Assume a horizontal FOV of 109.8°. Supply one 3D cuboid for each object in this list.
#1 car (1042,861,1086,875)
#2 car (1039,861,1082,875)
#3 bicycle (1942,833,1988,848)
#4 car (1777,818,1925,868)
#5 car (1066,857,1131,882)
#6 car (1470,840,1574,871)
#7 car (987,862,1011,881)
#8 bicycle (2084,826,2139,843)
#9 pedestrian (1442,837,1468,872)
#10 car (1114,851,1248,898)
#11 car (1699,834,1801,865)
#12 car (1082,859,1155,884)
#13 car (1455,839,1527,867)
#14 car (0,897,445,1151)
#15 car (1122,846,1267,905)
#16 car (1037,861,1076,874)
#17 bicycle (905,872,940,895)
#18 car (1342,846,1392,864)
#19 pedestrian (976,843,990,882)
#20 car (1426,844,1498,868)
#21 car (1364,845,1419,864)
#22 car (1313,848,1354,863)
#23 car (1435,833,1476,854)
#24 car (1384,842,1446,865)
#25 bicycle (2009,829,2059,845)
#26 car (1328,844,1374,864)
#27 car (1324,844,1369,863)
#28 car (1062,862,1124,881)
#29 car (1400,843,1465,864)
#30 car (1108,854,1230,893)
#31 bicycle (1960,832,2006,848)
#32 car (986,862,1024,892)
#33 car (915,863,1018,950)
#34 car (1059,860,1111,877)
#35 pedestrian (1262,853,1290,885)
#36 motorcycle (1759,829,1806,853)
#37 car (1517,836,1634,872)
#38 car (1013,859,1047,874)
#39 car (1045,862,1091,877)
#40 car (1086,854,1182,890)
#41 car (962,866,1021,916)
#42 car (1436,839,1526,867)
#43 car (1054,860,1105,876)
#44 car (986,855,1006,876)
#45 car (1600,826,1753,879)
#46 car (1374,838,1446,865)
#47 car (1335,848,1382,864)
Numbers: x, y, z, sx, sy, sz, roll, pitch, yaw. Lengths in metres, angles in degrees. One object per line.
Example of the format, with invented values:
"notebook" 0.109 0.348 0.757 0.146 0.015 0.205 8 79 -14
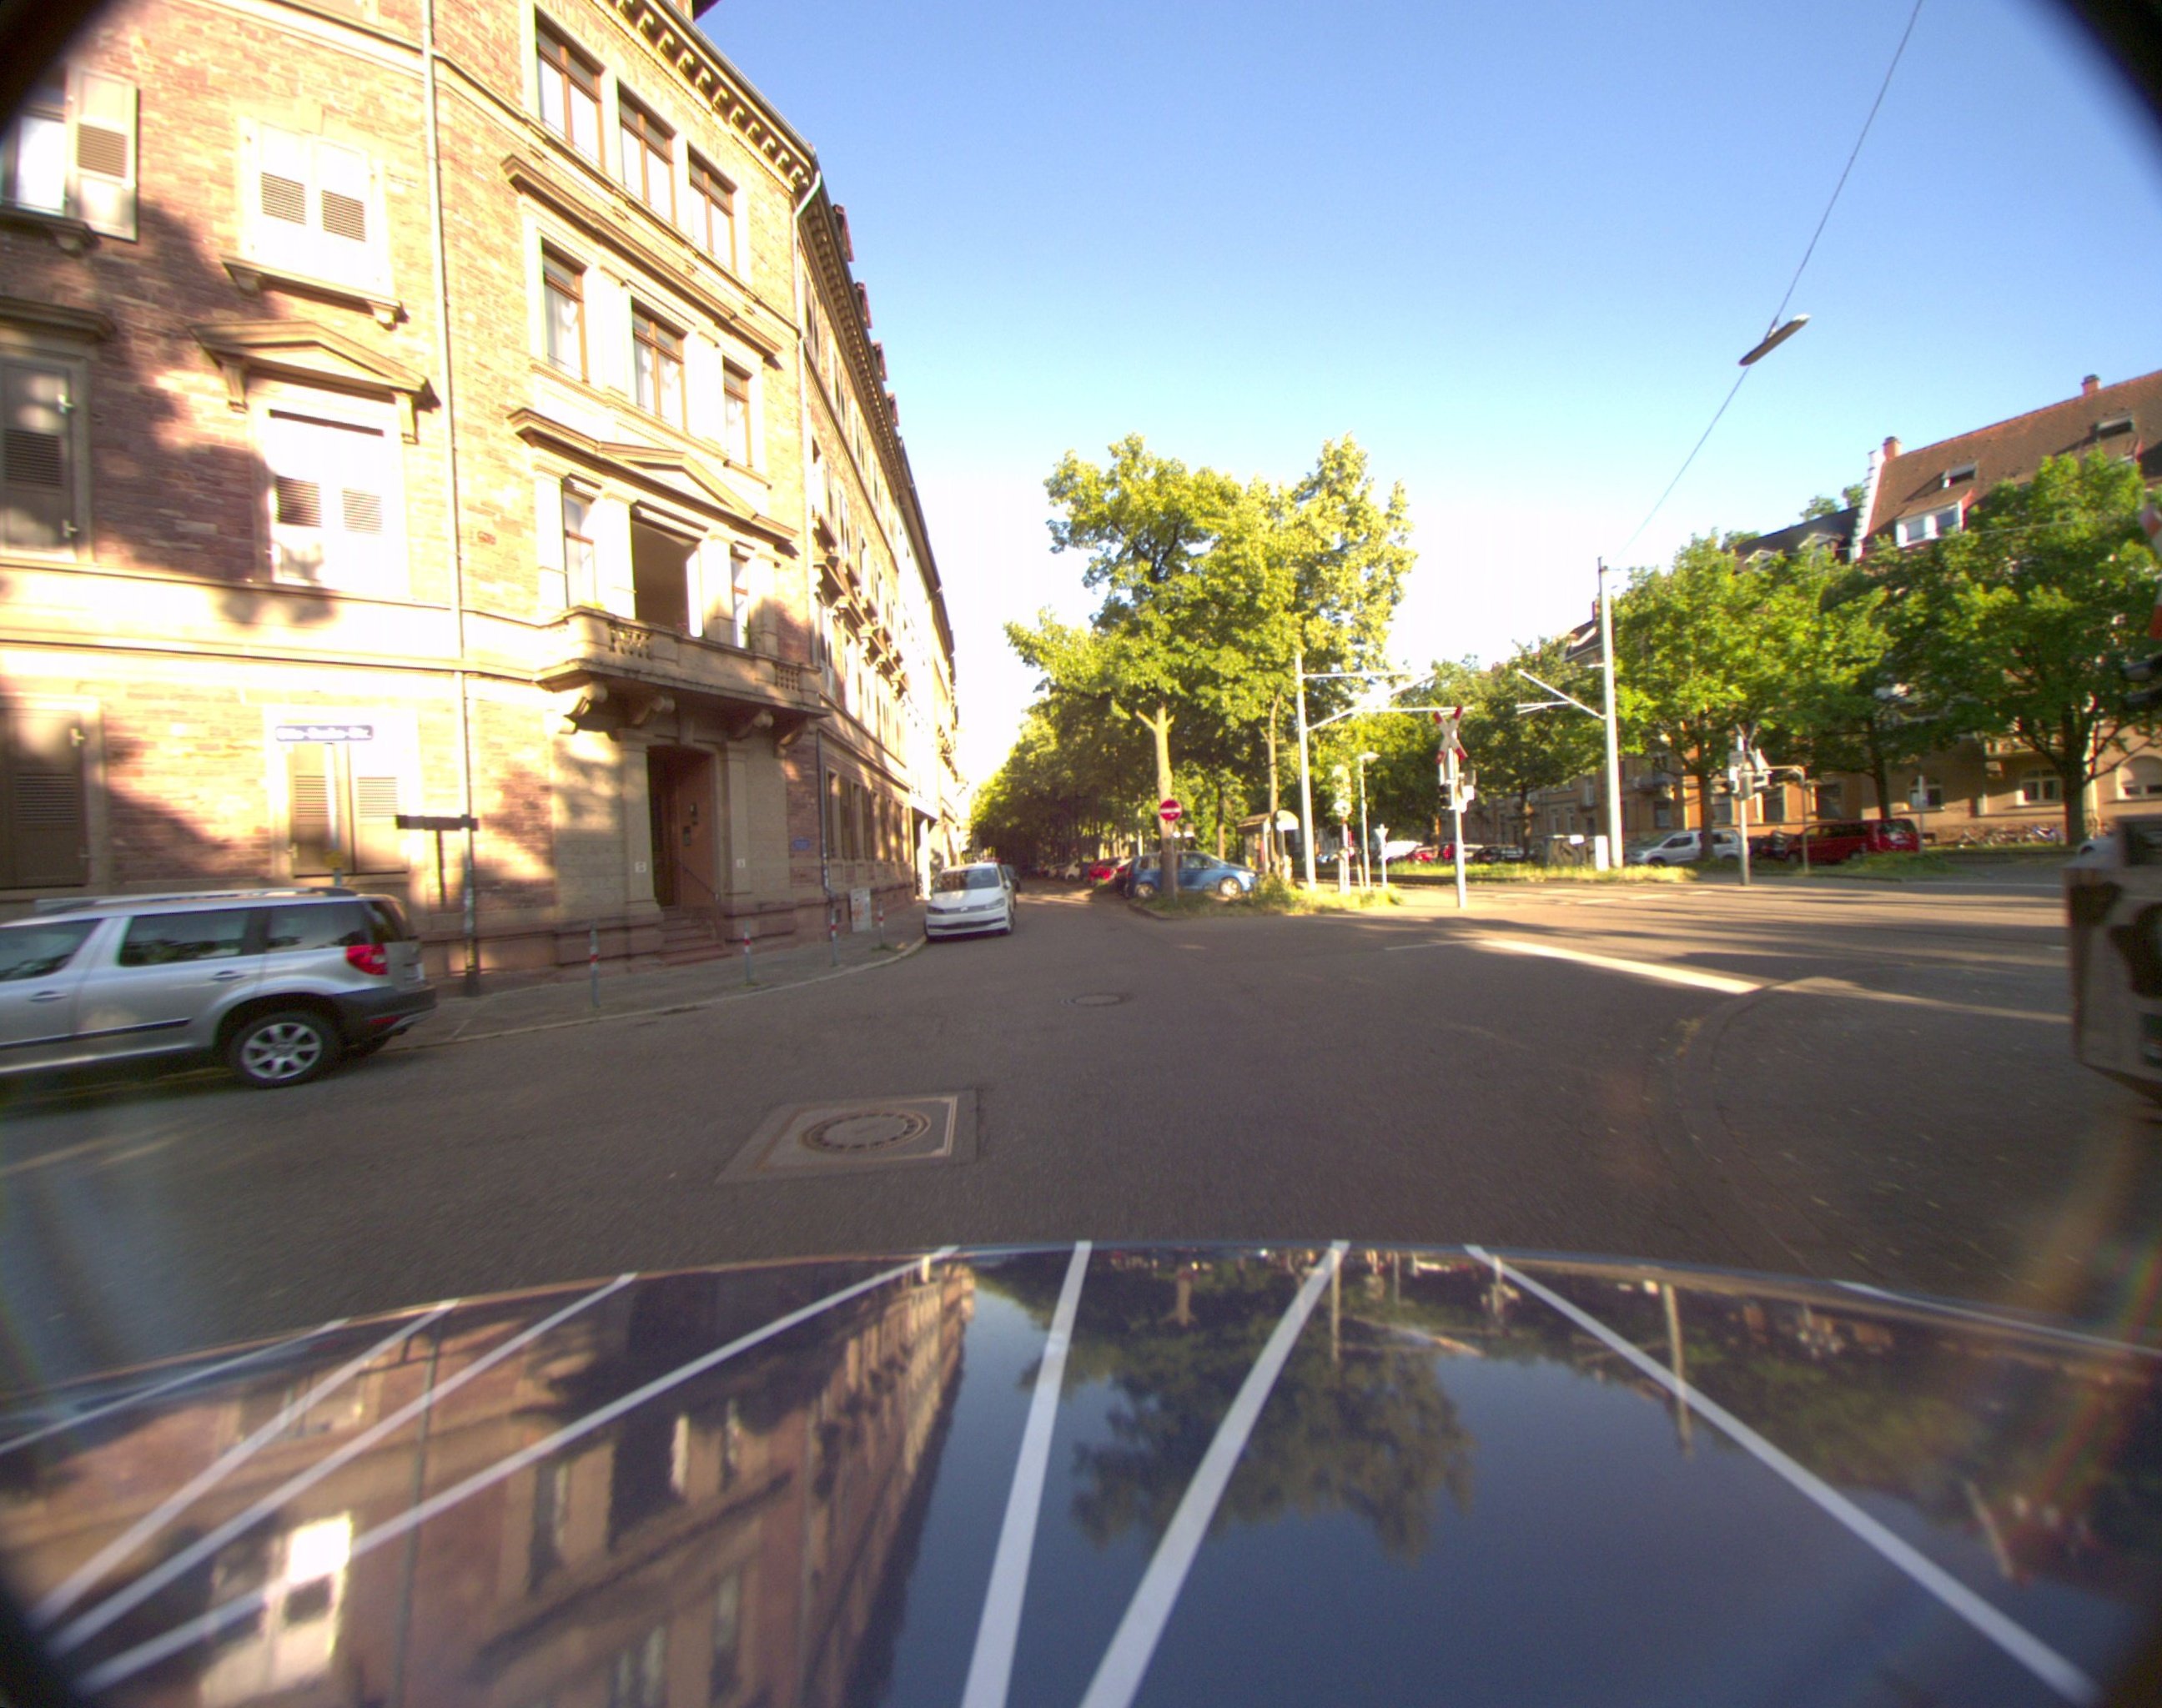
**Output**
"car" -1.716 1.381 75.804 3.990 1.271 1.751 -2 0 25
"car" -2.112 1.435 78.301 3.990 1.271 1.751 -2 0 25
"bicycle" 46.508 -0.716 39.985 0.369 0.728 1.507 -3 0 -32
"car" 33.950 -0.447 33.719 1.780 1.922 4.774 -5 0 3
"car" 1.222 1.094 54.735 4.271 1.685 1.812 -2 0 29
"car" 25.078 0.078 43.377 4.710 1.563 2.001 -2 1 6
"car" -7.408 1.555 68.383 2.000 1.558 4.609 -2 0 -7
"bicycle" 49.053 -0.913 36.189 0.369 0.728 1.507 -3 0 -32
"pedestrian" 20.924 0.028 42.524 0.904 1.907 1.150 -2 0 5
"car" 3.733 0.777 28.354 4.541 1.625 1.933 -2 0 25
"car" 34.476 -0.219 39.341 1.780 1.425 4.272 -5 0 6
"car" 2.380 1.097 48.525 4.271 1.478 1.812 -2 0 29
"car" 24.799 -0.071 46.082 3.405 1.505 1.720 -2 0 6
"car" -8.169 1.353 6.241 4.192 1.646 1.919 -3 -3 -30
"car" 3.801 0.731 25.434 4.410 1.677 1.745 -4 0 23
"car" -2.701 1.507 84.187 3.990 1.271 1.751 -2 0 25
"bicycle" -8.323 1.547 39.984 0.681 1.110 2.100 -2 0 23
"car" 26.596 0.094 70.810 3.995 1.480 1.685 -2 0 4
"pedestrian" -7.674 0.665 59.396 0.920 2.930 0.699 -3 1 -8
"car" 25.675 0.118 51.313 3.995 1.452 1.685 -2 0 4
"car" 26.807 0.038 65.662 3.995 1.544 1.685 -2 0 4
"car" 27.778 0.129 83.614 3.995 1.480 1.685 -2 0 4
"car" 36.848 -0.988 74.911 1.911 1.871 4.726 -5 0 4
"car" 25.725 -0.025 58.680 3.996 1.571 1.766 -2 0 2
"bicycle" 47.690 -0.850 38.022 0.369 0.728 1.507 -3 0 -32
"car" 26.928 -0.004 75.773 3.995 1.821 1.685 -2 0 4
"car" 27.287 -0.023 78.179 3.995 1.821 1.685 -2 0 4
"car" 0.917 1.313 57.610 4.271 1.271 1.812 -2 0 26
"car" 26.014 -0.022 56.355 3.995 1.415 1.685 -2 0 4
"car" 3.577 0.795 31.063 4.541 1.478 1.933 -2 0 25
"bicycle" 46.528 -0.719 39.204 0.369 0.728 1.507 -3 0 -32
"car" -4.362 1.278 44.183 1.999 1.558 4.591 -2 0 -5
"car" -2.567 1.113 18.037 1.874 1.640 4.497 -5 0 -3
"car" 0.325 1.195 63.531 3.990 1.271 1.751 -2 0 25
"pedestrian" 7.847 0.594 30.587 0.824 1.265 0.876 -2 0 -4
"motorcycle" 42.762 -0.785 46.316 0.811 1.345 1.895 -2 -1 -31
"car" 25.104 -0.016 38.711 4.548 1.563 1.951 -2 1 6
"car" -6.443 1.619 96.476 3.993 1.756 1.750 -2 0 11
"car" -1.262 1.462 72.729 3.990 1.271 1.751 -2 0 25
"car" 2.692 0.941 38.942 4.540 1.711 1.933 -2 0 35
"car" -3.182 1.282 27.646 1.741 1.481 4.163 -5 0 -3
"car" 25.518 -0.094 48.609 4.710 1.563 2.001 -2 1 6
"car" -0.130 1.213 66.360 3.990 1.271 1.751 -2 0 25
"car" -8.948 1.187 79.725 2.000 2.160 4.609 -2 0 -7
"car" 24.235 -0.064 31.052 4.548 1.903 1.951 -2 1 6
"car" 26.454 -0.202 61.317 4.855 2.026 2.156 -2 0 4
"car" 26.837 0.184 73.578 3.995 1.480 1.685 -2 0 4
